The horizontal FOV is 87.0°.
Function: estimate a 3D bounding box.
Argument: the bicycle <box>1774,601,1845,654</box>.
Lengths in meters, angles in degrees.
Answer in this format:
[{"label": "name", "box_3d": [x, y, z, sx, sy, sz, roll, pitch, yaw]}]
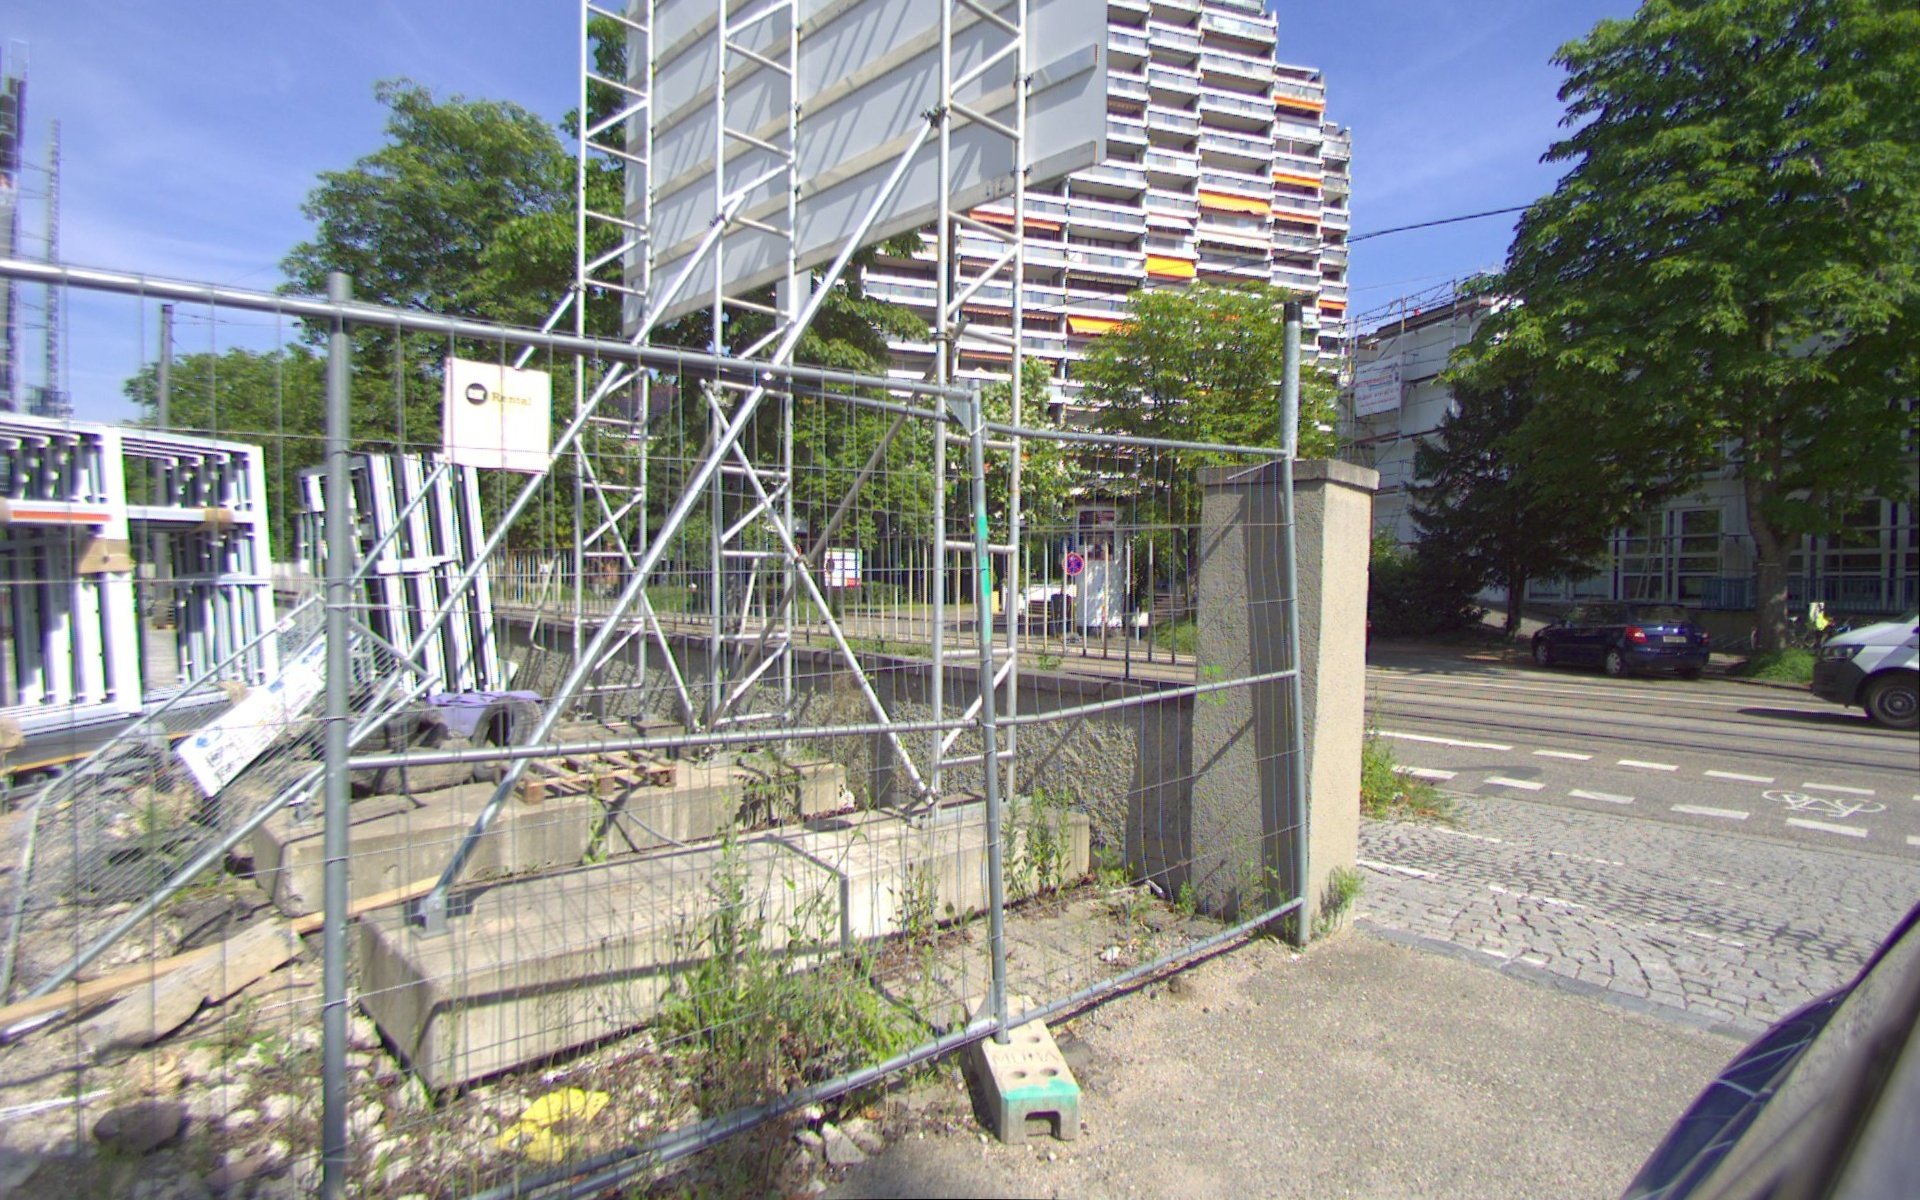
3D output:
[{"label": "bicycle", "box_3d": [20.327, 0.649, 24.196, 1.975, 1.215, 0.490, 1, 0, -25]}]

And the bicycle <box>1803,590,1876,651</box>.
[{"label": "bicycle", "box_3d": [20.465, 0.475, 23.543, 1.975, 1.395, 0.490, 1, 0, -25]}]

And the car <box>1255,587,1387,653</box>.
[{"label": "car", "box_3d": [8.888, 0.432, 25.295, 1.808, 1.427, 4.148, -1, 2, 0]}]

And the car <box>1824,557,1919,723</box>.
[{"label": "car", "box_3d": [13.330, 0.520, 11.449, 1.963, 1.970, 5.238, 1, 1, -43]}]

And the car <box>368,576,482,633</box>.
[{"label": "car", "box_3d": [-15.429, 0.094, 29.085, 1.965, 1.498, 4.349, 1, 1, -41]}]

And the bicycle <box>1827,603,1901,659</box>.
[{"label": "bicycle", "box_3d": [20.673, 0.701, 23.135, 1.975, 1.215, 0.490, 1, 0, -25]}]

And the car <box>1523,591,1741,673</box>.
[{"label": "car", "box_3d": [13.453, 0.567, 20.590, 1.769, 1.467, 3.984, 1, 1, 1]}]

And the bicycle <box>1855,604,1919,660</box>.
[{"label": "bicycle", "box_3d": [20.872, 0.701, 22.652, 1.975, 1.215, 0.490, 1, 0, -25]}]

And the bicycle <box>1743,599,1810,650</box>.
[{"label": "bicycle", "box_3d": [20.163, 0.609, 24.993, 1.975, 1.215, 0.490, 1, 0, -26]}]
